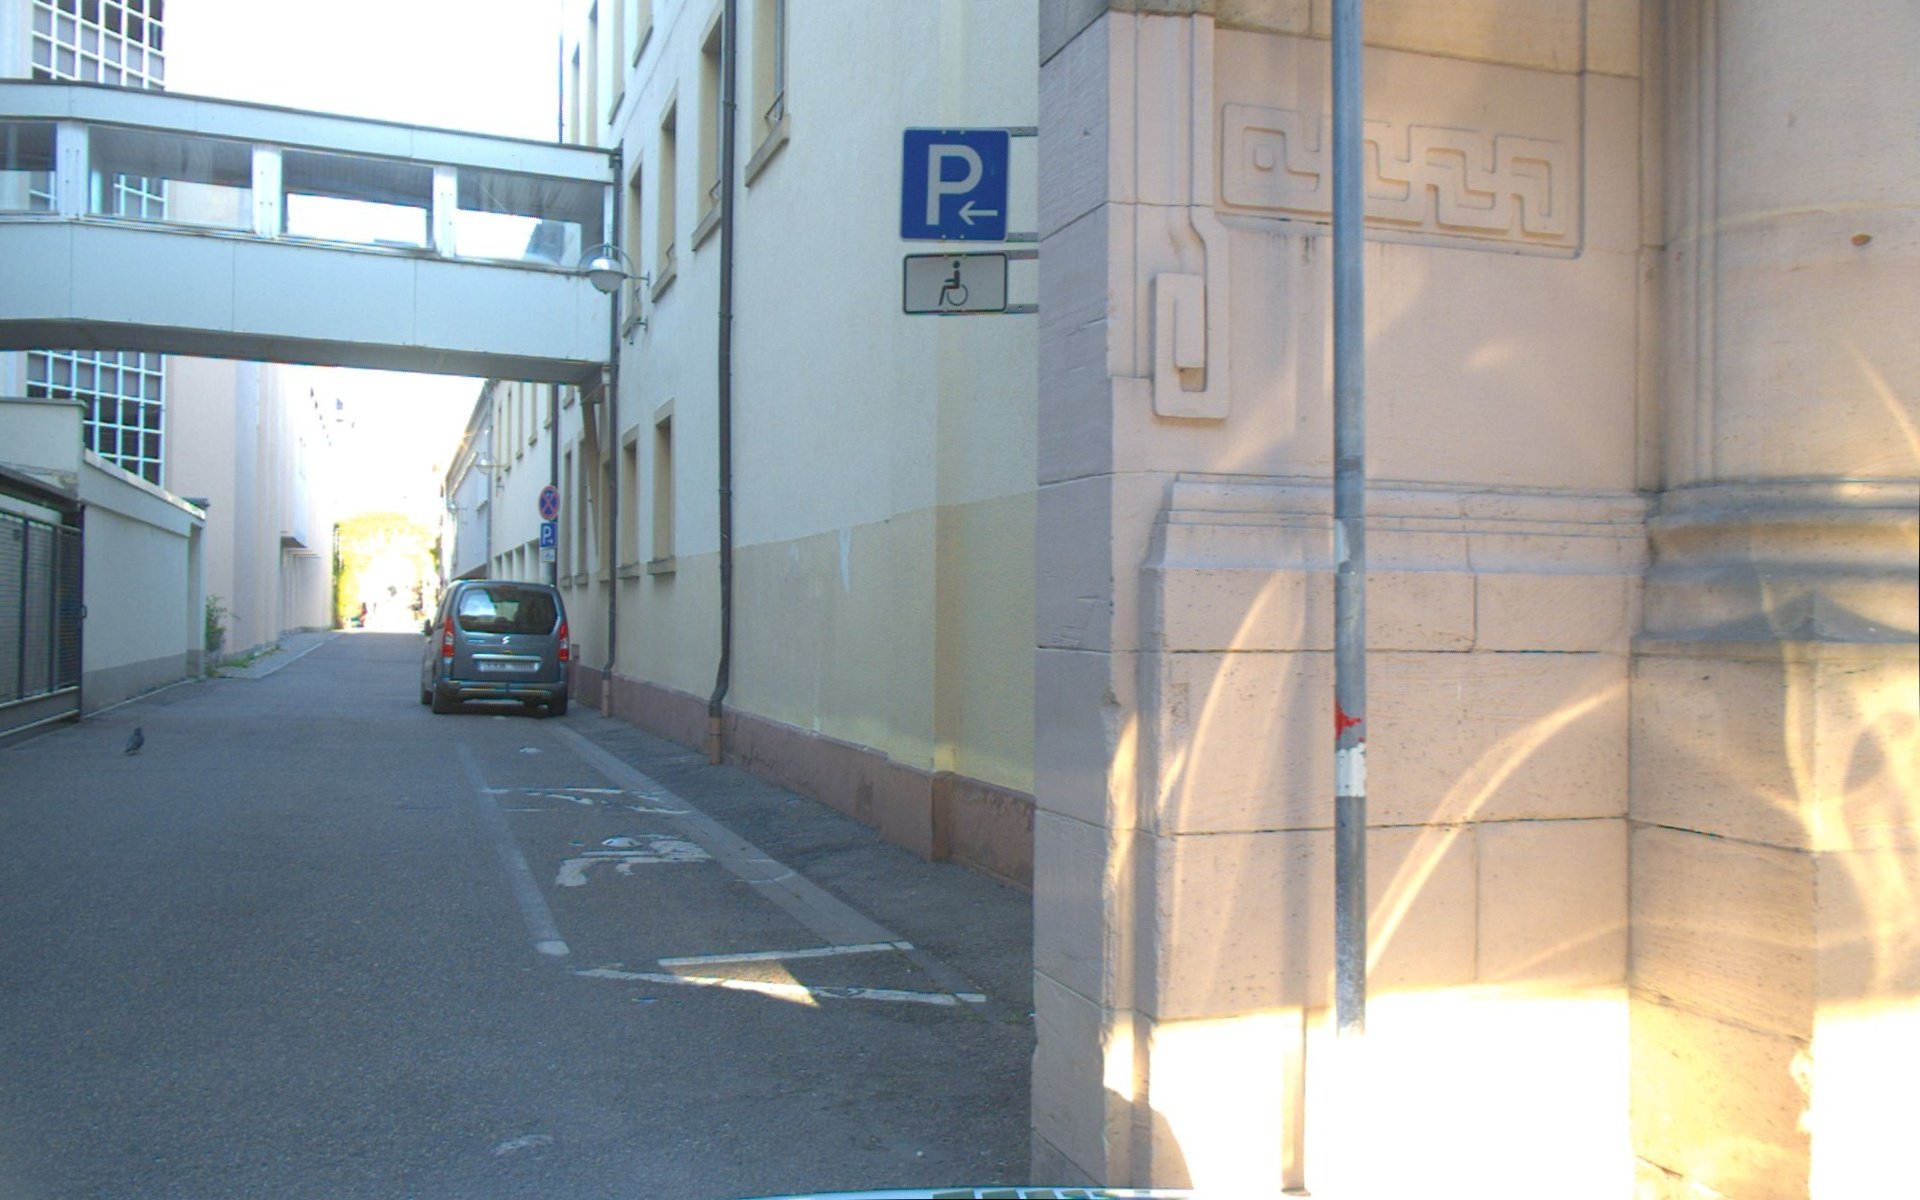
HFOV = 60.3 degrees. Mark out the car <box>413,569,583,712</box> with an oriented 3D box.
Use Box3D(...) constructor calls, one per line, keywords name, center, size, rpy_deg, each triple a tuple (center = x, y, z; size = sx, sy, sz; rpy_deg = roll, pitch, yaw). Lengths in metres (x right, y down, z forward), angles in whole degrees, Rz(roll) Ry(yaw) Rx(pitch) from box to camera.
Box3D(name="car", center=(-6.677, 0.553, 23.627), size=(1.829, 1.786, 4.135), rpy_deg=(4, -2, -22))
